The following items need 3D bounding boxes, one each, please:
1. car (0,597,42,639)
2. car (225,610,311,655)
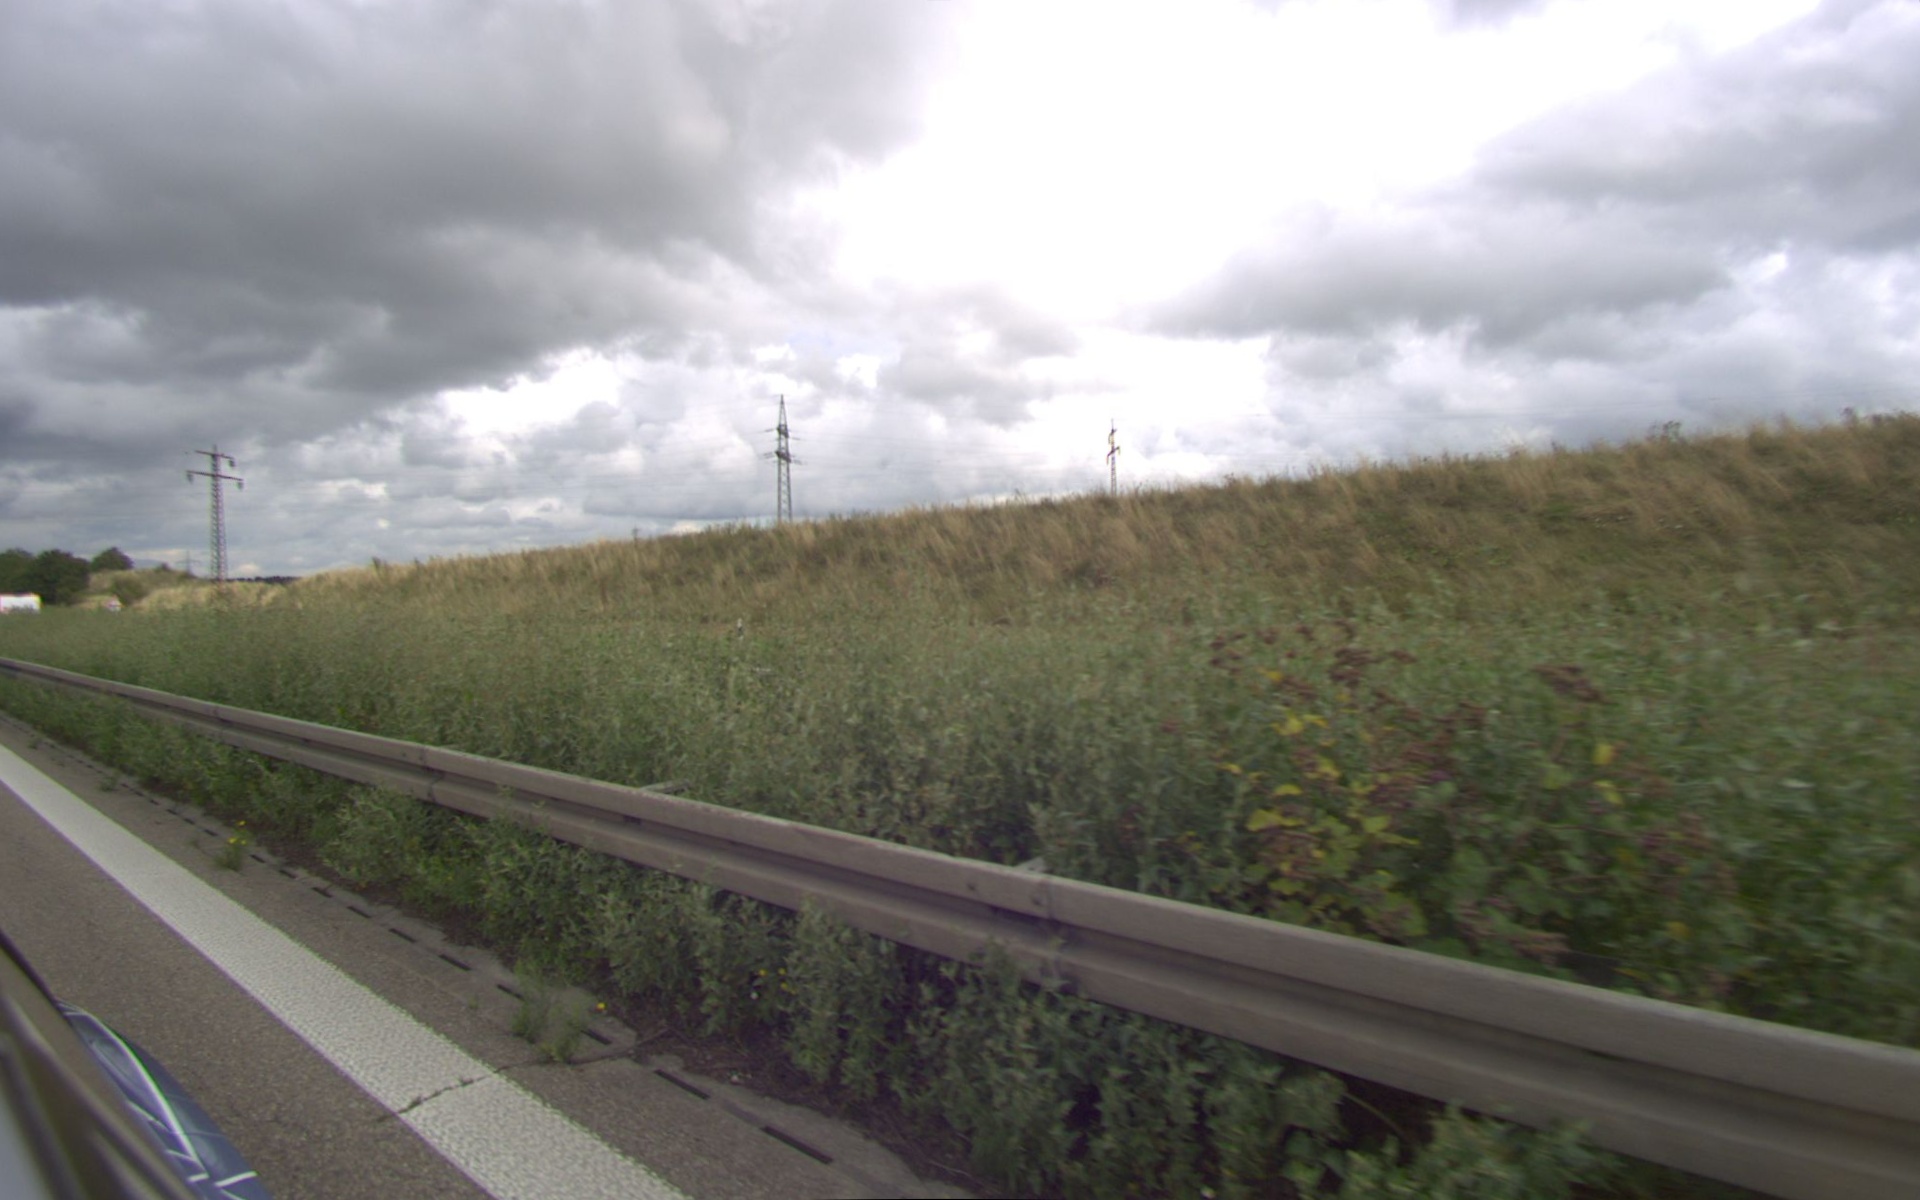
[{"bbox_3d":[-54.008,1.023,57.533,5.451,2.284,2.101,-1,0,42],"label":"car"},{"bbox_3d":[-26.110,1.186,38.140,3.998,1.567,1.714,-1,0,41],"label":"car"}]
